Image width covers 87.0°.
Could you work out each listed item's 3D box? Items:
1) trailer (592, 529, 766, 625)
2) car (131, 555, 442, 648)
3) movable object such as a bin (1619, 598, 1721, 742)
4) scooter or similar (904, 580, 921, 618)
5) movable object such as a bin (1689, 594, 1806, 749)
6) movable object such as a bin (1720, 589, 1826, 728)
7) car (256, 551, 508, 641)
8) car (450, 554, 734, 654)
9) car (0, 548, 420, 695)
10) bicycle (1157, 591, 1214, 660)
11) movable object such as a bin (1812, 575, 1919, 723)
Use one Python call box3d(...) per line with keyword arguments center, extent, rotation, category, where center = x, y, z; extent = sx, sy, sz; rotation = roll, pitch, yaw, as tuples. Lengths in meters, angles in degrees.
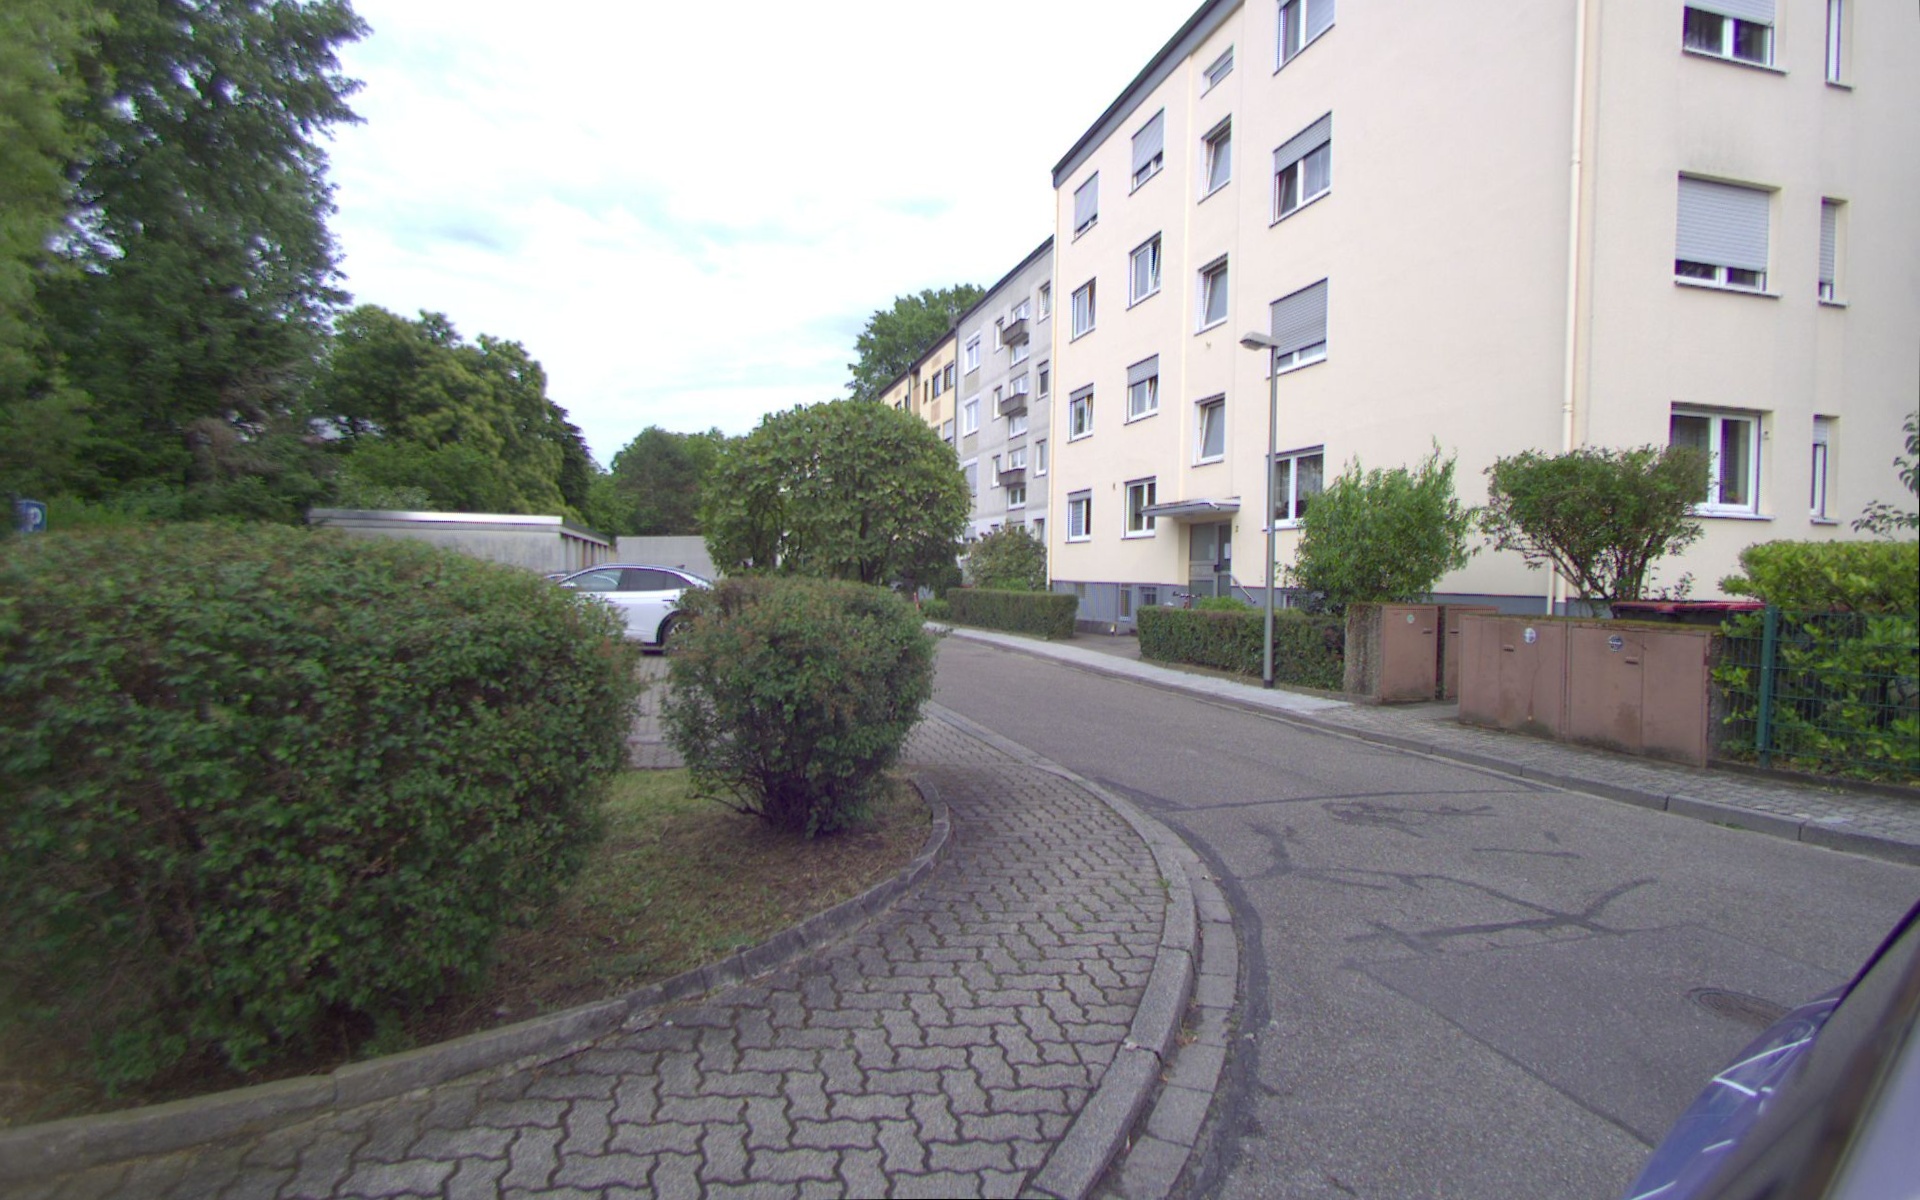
box3d(center=(-7.823, -0.626, 28.399), extent=(4.527, 2.556, 1.947), rotation=(0, 1, -14), category="trailer")
box3d(center=(-10.889, 0.022, 16.699), extent=(3.828, 1.398, 1.976), rotation=(1, 1, -16), category="car")
box3d(center=(6.202, 0.590, 8.851), extent=(0.496, 1.202, 0.516), rotation=(1, 1, -17), category="movable object such as a bin")
box3d(center=(-1.545, -0.044, 32.659), extent=(0.268, 1.226, 1.167), rotation=(1, 1, -16), category="scooter or similar")
box3d(center=(6.418, 0.572, 8.259), extent=(0.496, 1.202, 0.516), rotation=(2, 1, -17), category="movable object such as a bin")
box3d(center=(7.358, 0.518, 9.168), extent=(0.496, 1.202, 0.516), rotation=(2, 1, -17), category="movable object such as a bin")
box3d(center=(-10.801, -0.090, 19.272), extent=(3.916, 1.571, 2.004), rotation=(0, 2, -22), category="car")
box3d(center=(-6.307, 0.069, 17.859), extent=(4.456, 1.608, 1.992), rotation=(1, 1, -14), category="car")
box3d(center=(-8.746, 0.228, 11.930), extent=(3.828, 1.529, 2.032), rotation=(1, 1, -16), category="car")
box3d(center=(3.871, 0.415, 17.464), extent=(0.312, 1.089, 1.421), rotation=(0, 2, -15), category="bicycle")
box3d(center=(7.588, 0.397, 8.434), extent=(0.496, 1.179, 0.516), rotation=(2, 1, -17), category="movable object such as a bin")
